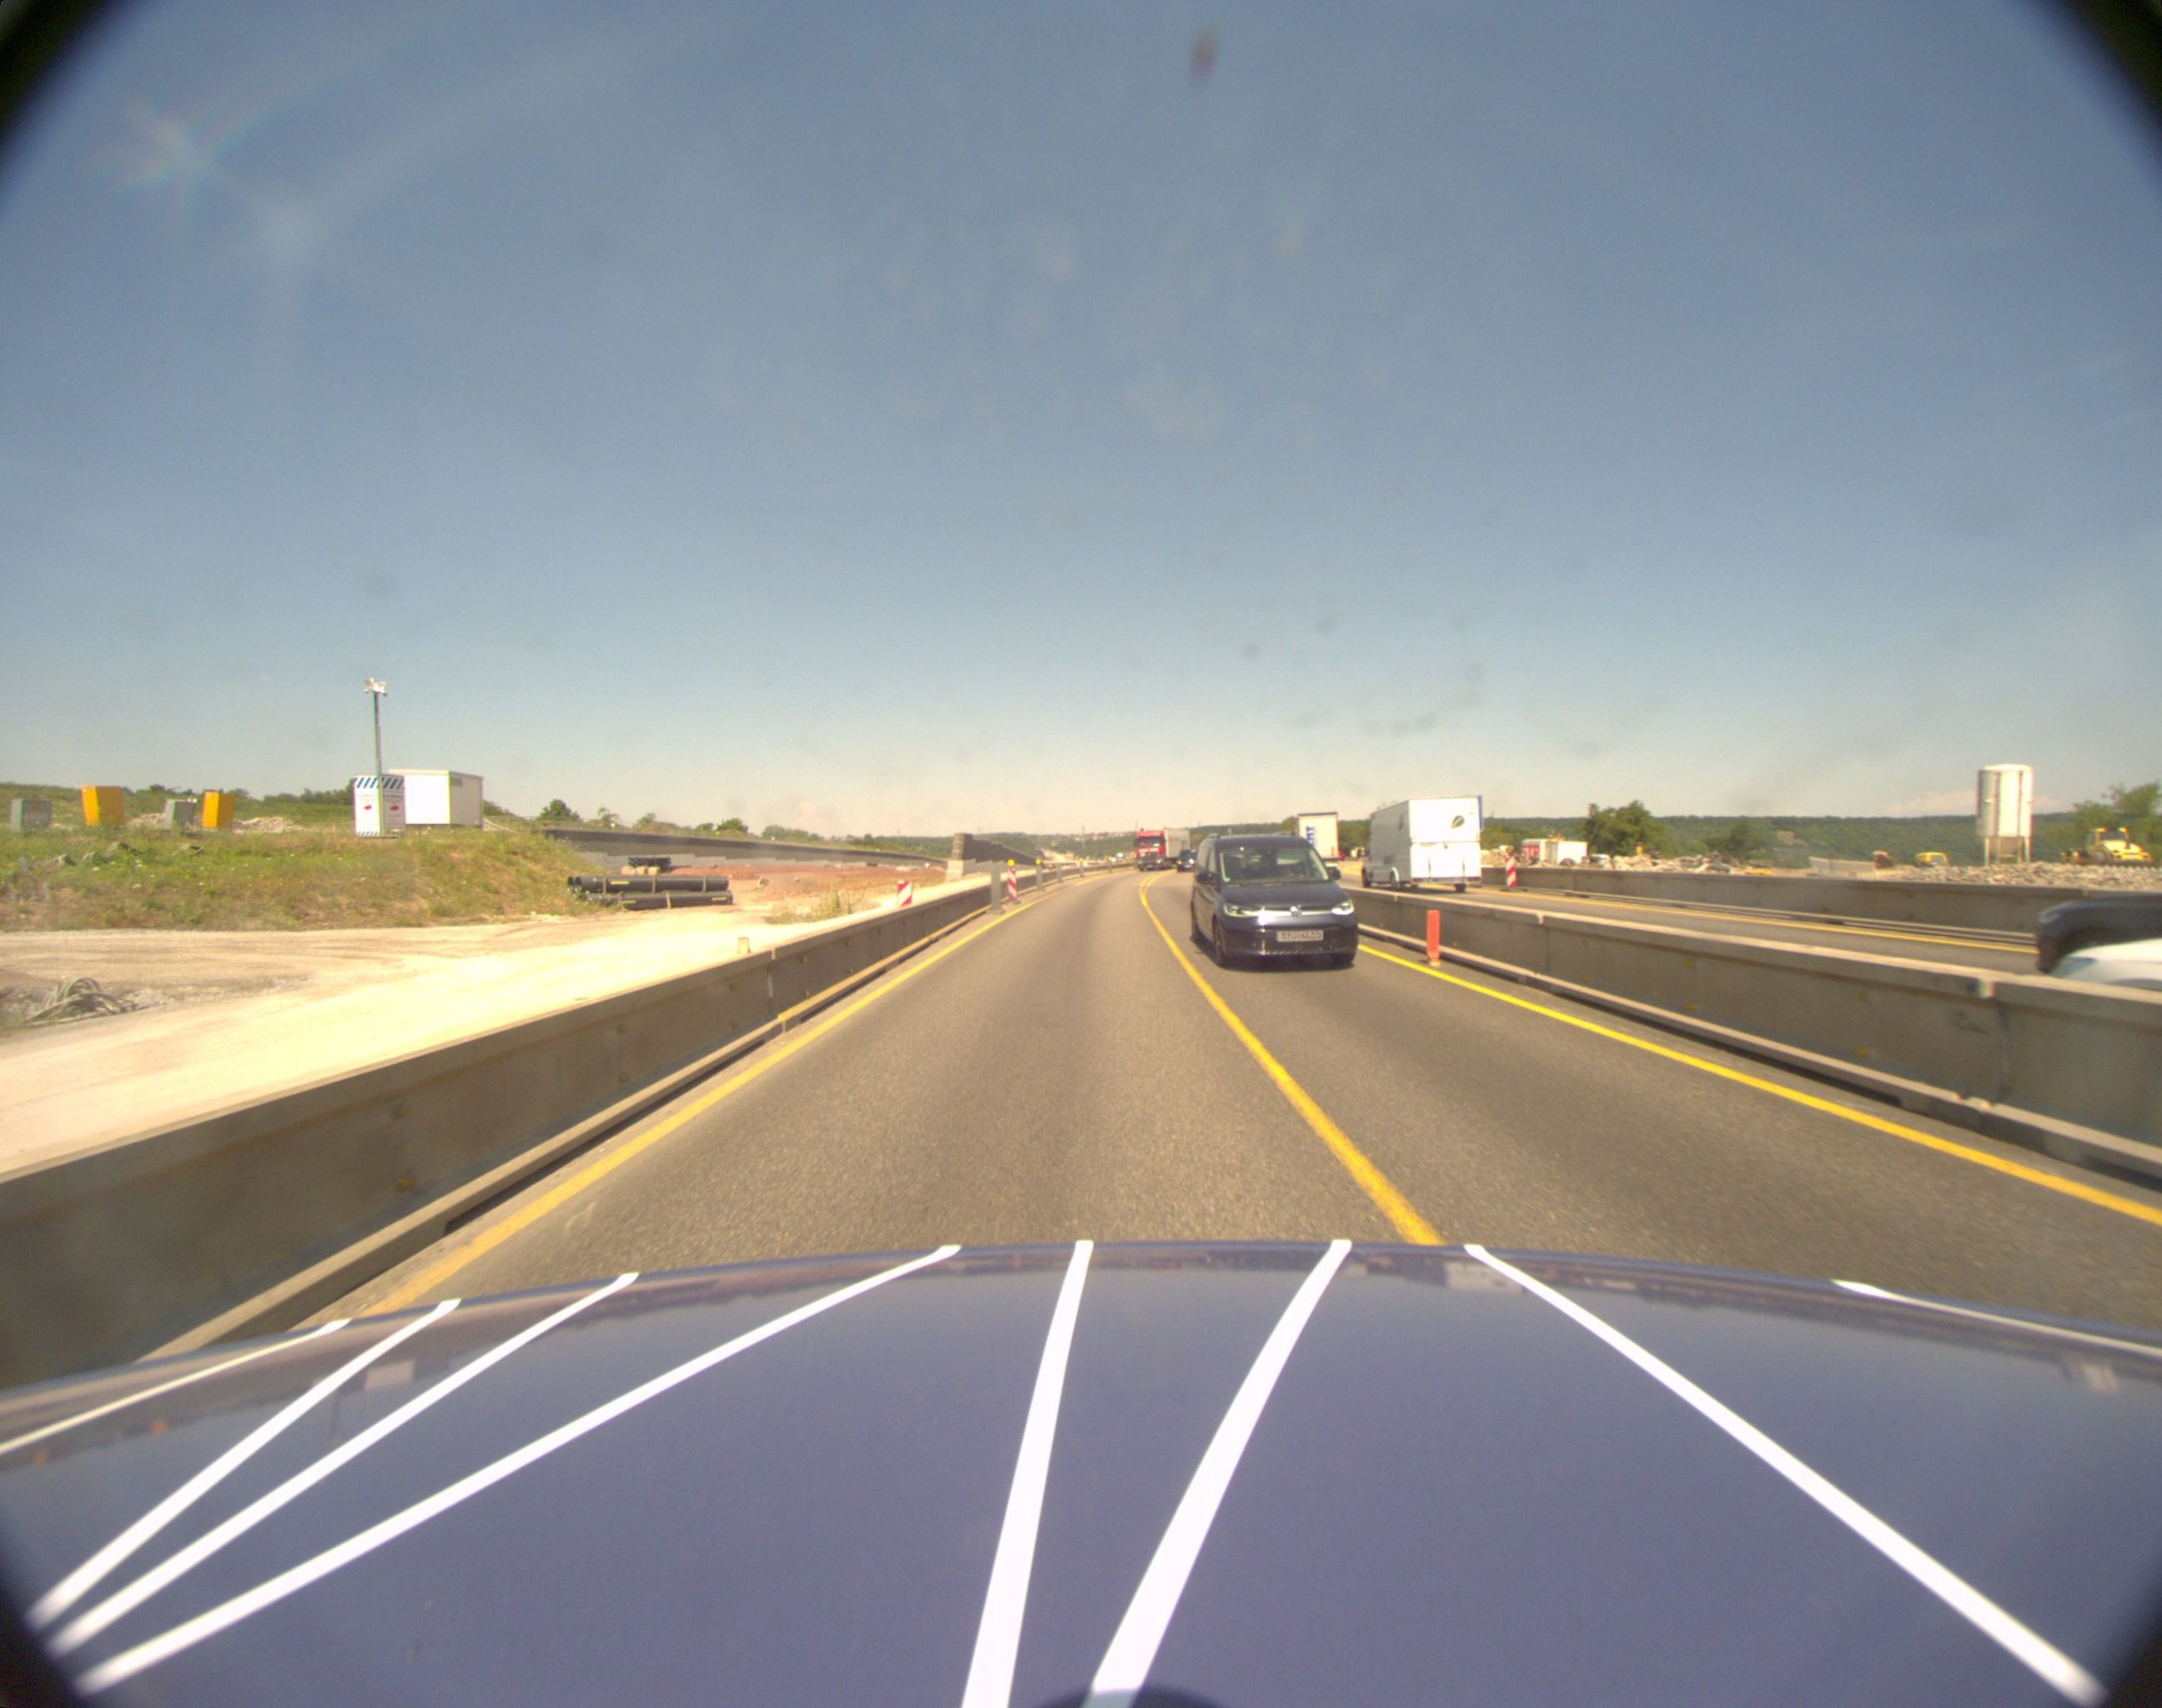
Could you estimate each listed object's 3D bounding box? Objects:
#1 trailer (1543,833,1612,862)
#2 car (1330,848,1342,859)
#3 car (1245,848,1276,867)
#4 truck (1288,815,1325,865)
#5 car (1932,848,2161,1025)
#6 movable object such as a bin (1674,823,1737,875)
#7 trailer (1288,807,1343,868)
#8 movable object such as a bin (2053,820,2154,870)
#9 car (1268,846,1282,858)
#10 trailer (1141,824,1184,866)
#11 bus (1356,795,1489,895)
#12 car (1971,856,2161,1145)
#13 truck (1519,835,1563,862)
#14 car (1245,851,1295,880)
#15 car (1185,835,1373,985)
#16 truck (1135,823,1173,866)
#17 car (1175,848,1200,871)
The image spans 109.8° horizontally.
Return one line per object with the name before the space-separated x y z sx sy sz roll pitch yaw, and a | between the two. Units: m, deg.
trailer | 53.173 -0.703 81.468 5.578 2.979 2.883 -1 1 -2
car | 40.413 -0.116 120.249 1.722 1.618 4.342 -1 0 20
car | 14.128 0.242 59.734 1.797 1.467 4.784 -1 0 20
truck | 19.187 -1.143 64.922 2.705 4.038 5.506 -1 0 13
car | 9.667 0.668 5.531 1.826 1.415 4.647 -1 0 1
movable object such as a bin | 39.136 -0.317 47.735 1.995 3.122 4.284 -1 0 24
trailer | 17.647 -1.141 57.943 2.764 4.090 13.990 -1 0 12
movable object such as a bin | 66.905 -0.583 49.856 1.995 3.122 4.493 -1 0 24
car | 25.170 -0.263 98.383 1.662 1.596 4.401 -1 0 15
trailer | 8.470 -0.901 77.292 2.698 3.852 12.435 -1 0 14
bus | 12.004 -0.297 27.433 2.354 3.107 7.232 -1 0 7
car | 6.382 0.747 2.364 1.820 1.447 4.634 -1 0 0
truck | 52.388 -0.628 86.546 2.347 3.026 4.264 -1 0 -1
car | 9.701 0.558 39.364 1.812 1.406 4.400 -1 0 4
car | 2.729 0.671 11.571 1.925 1.779 4.604 -2 0 4
truck | 6.871 -0.886 70.963 2.624 3.880 4.939 -1 0 15
car | 8.734 0.431 62.067 1.797 1.776 4.003 -1 0 11
